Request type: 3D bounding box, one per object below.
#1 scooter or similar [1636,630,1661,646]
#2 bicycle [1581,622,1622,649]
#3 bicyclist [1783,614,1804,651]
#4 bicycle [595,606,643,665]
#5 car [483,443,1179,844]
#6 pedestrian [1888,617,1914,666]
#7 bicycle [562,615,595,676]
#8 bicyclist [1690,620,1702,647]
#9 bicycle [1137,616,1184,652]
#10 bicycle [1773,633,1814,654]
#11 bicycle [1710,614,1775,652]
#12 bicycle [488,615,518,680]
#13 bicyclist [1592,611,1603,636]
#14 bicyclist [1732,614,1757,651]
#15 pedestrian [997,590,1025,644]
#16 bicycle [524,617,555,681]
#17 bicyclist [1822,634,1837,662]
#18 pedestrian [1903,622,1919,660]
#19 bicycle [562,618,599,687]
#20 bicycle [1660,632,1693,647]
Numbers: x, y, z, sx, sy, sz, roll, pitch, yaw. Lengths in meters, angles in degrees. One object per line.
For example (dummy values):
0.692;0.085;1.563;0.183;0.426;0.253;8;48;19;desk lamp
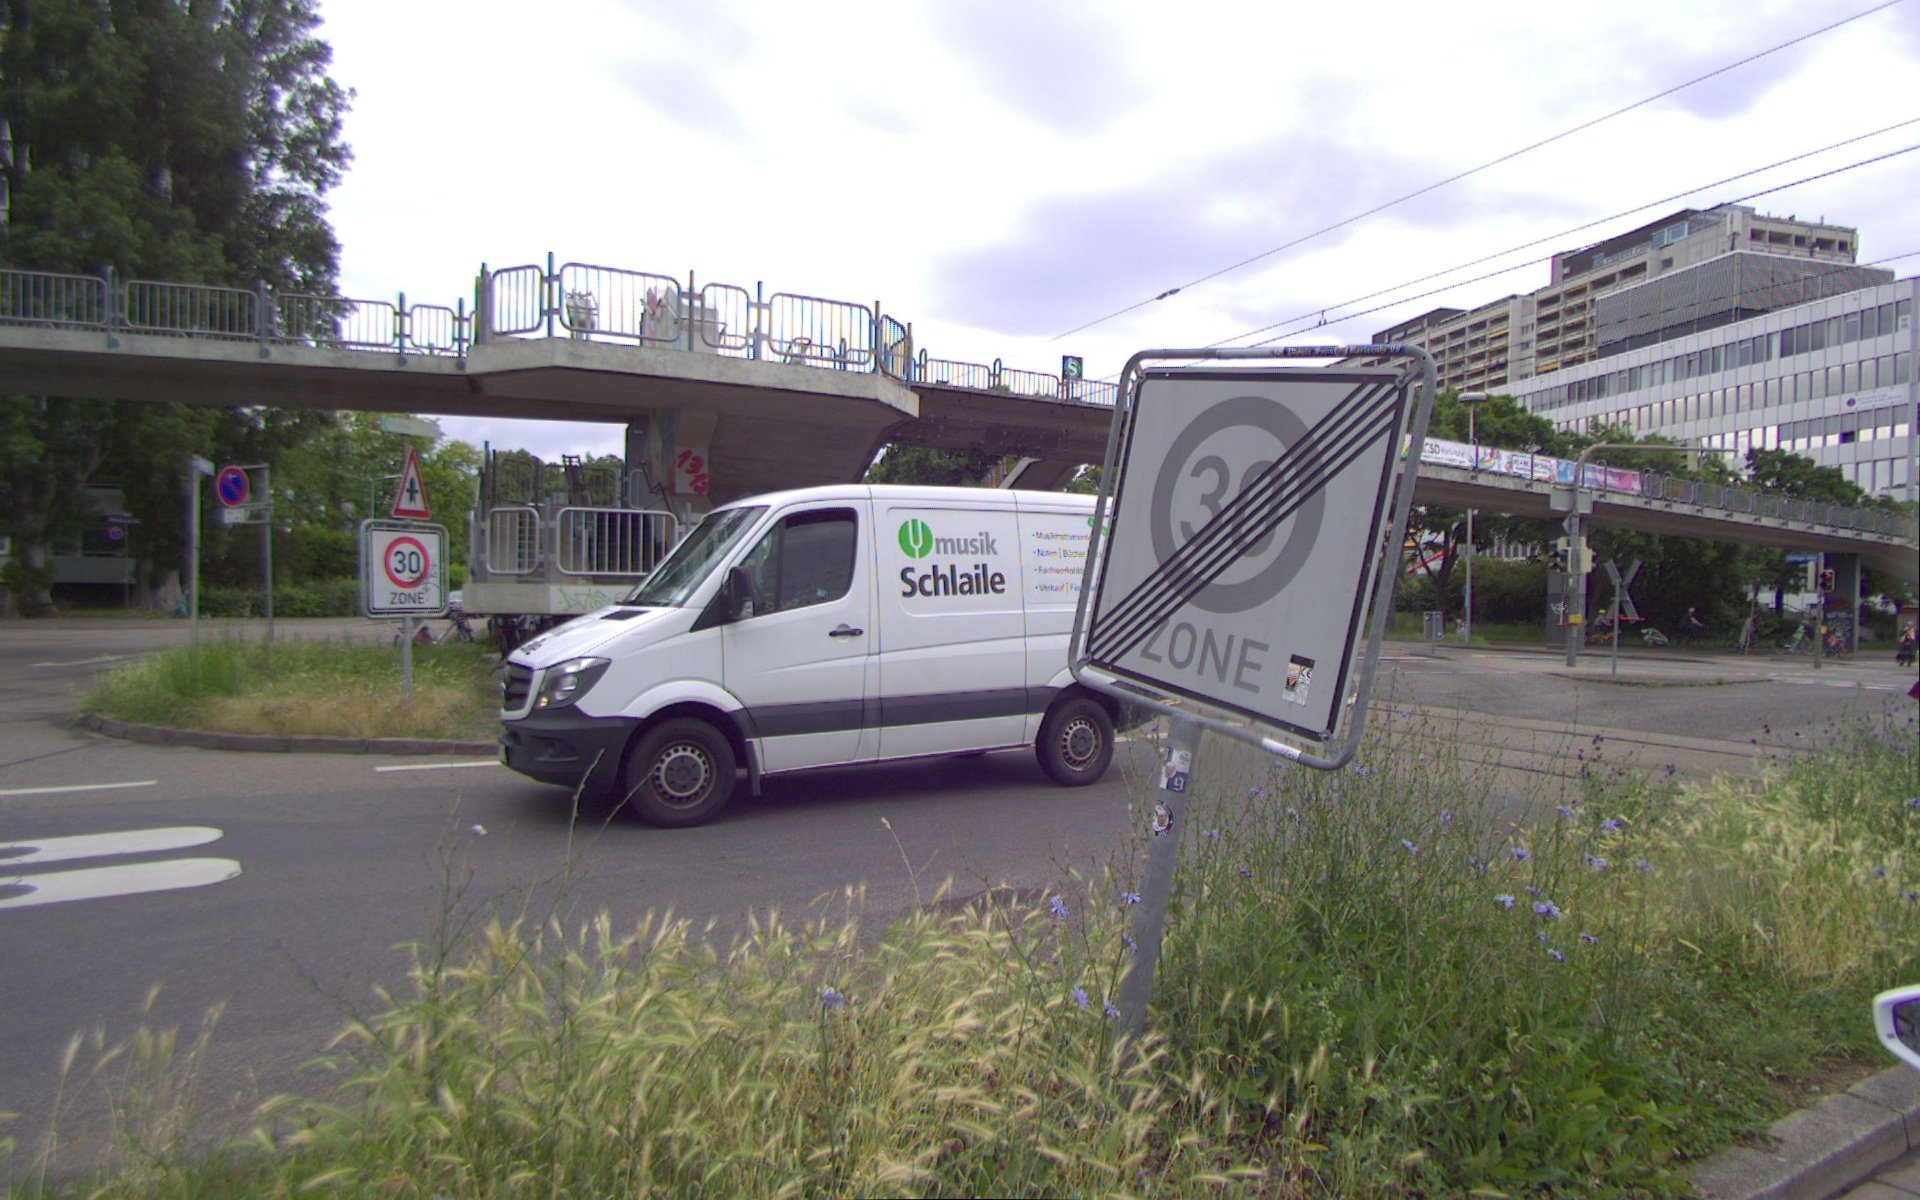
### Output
33.993;1.887;49.604;0.978;0.724;0.406;1;0;26;scooter or similar
32.628;1.784;51.127;0.385;1.321;1.691;1;1;-37;bicycle
38.103;1.470;45.902;0.525;1.666;0.562;2;0;-29;bicyclist
-5.693;0.573;16.747;0.390;0.897;1.628;1;0;-32;bicycle
-0.891;0.284;8.079;5.148;2.323;2.123;1;0;-31;car
33.305;1.462;35.551;0.402;1.714;0.612;1;1;-43;pedestrian
-6.216;0.715;16.336;0.389;0.897;1.632;1;0;-24;bicycle
35.704;1.628;48.727;0.376;1.321;0.278;1;1;24;bicyclist
5.698;0.955;28.669;0.368;0.934;2.029;1;0;-18;bicycle
38.115;1.983;45.939;2.493;0.938;0.628;1;1;-31;bicycle
36.189;1.503;46.485;0.521;1.647;2.348;1;0;-29;bicycle
-6.989;0.704;15.380;0.389;0.897;1.632;1;0;-24;bicycle
32.508;1.188;51.231;0.274;1.270;0.402;1;1;-38;bicyclist
36.245;1.505;46.423;0.521;1.647;0.744;1;0;-29;bicyclist
1.599;0.527;31.476;0.593;1.664;0.659;1;1;-25;pedestrian
-6.489;0.725;15.475;0.389;0.897;1.632;1;0;-24;bicycle
38.383;2.124;44.338;0.372;1.197;0.403;0;1;-28;bicyclist
41.360;1.762;43.619;0.572;1.600;0.777;2;0;42;pedestrian
-5.517;0.739;14.574;0.389;0.897;1.632;1;0;-24;bicycle
35.037;1.918;49.131;1.273;0.701;0.290;1;1;25;bicycle
